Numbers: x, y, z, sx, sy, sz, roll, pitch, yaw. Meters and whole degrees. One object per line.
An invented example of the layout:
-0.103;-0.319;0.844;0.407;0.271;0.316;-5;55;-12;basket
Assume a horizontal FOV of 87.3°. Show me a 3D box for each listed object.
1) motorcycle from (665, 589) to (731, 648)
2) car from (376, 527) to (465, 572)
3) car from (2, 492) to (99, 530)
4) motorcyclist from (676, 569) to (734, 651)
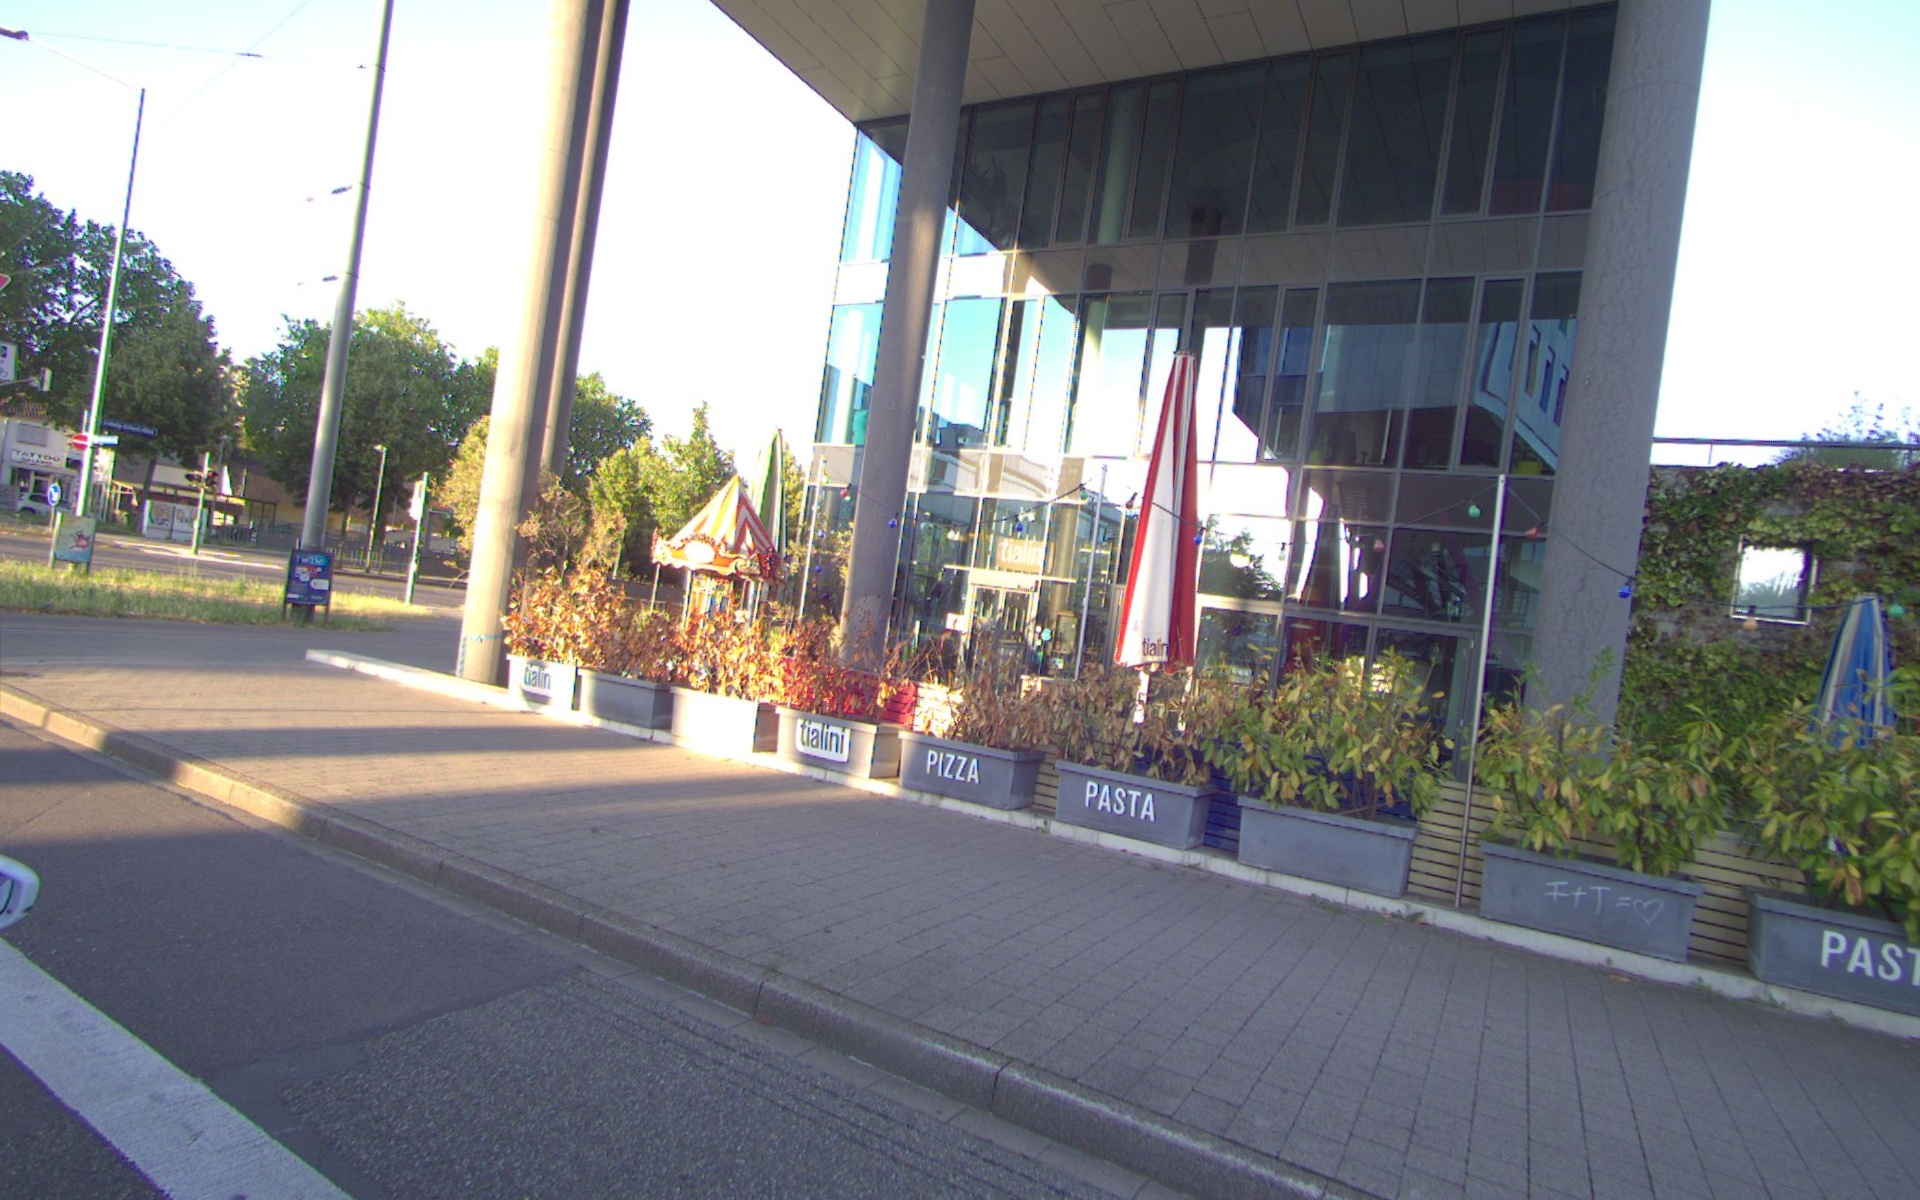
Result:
-6.047;0.432;23.263;0.557;1.202;1.313;8;-1;31;motorcycle
-42.580;-3.965;79.558;2.197;2.581;5.594;7;-2;39;car
-50.456;-4.941;55.847;1.641;1.456;3.736;6;-2;41;car
-5.914;0.244;23.356;0.665;1.767;0.901;8;0;32;motorcyclist
